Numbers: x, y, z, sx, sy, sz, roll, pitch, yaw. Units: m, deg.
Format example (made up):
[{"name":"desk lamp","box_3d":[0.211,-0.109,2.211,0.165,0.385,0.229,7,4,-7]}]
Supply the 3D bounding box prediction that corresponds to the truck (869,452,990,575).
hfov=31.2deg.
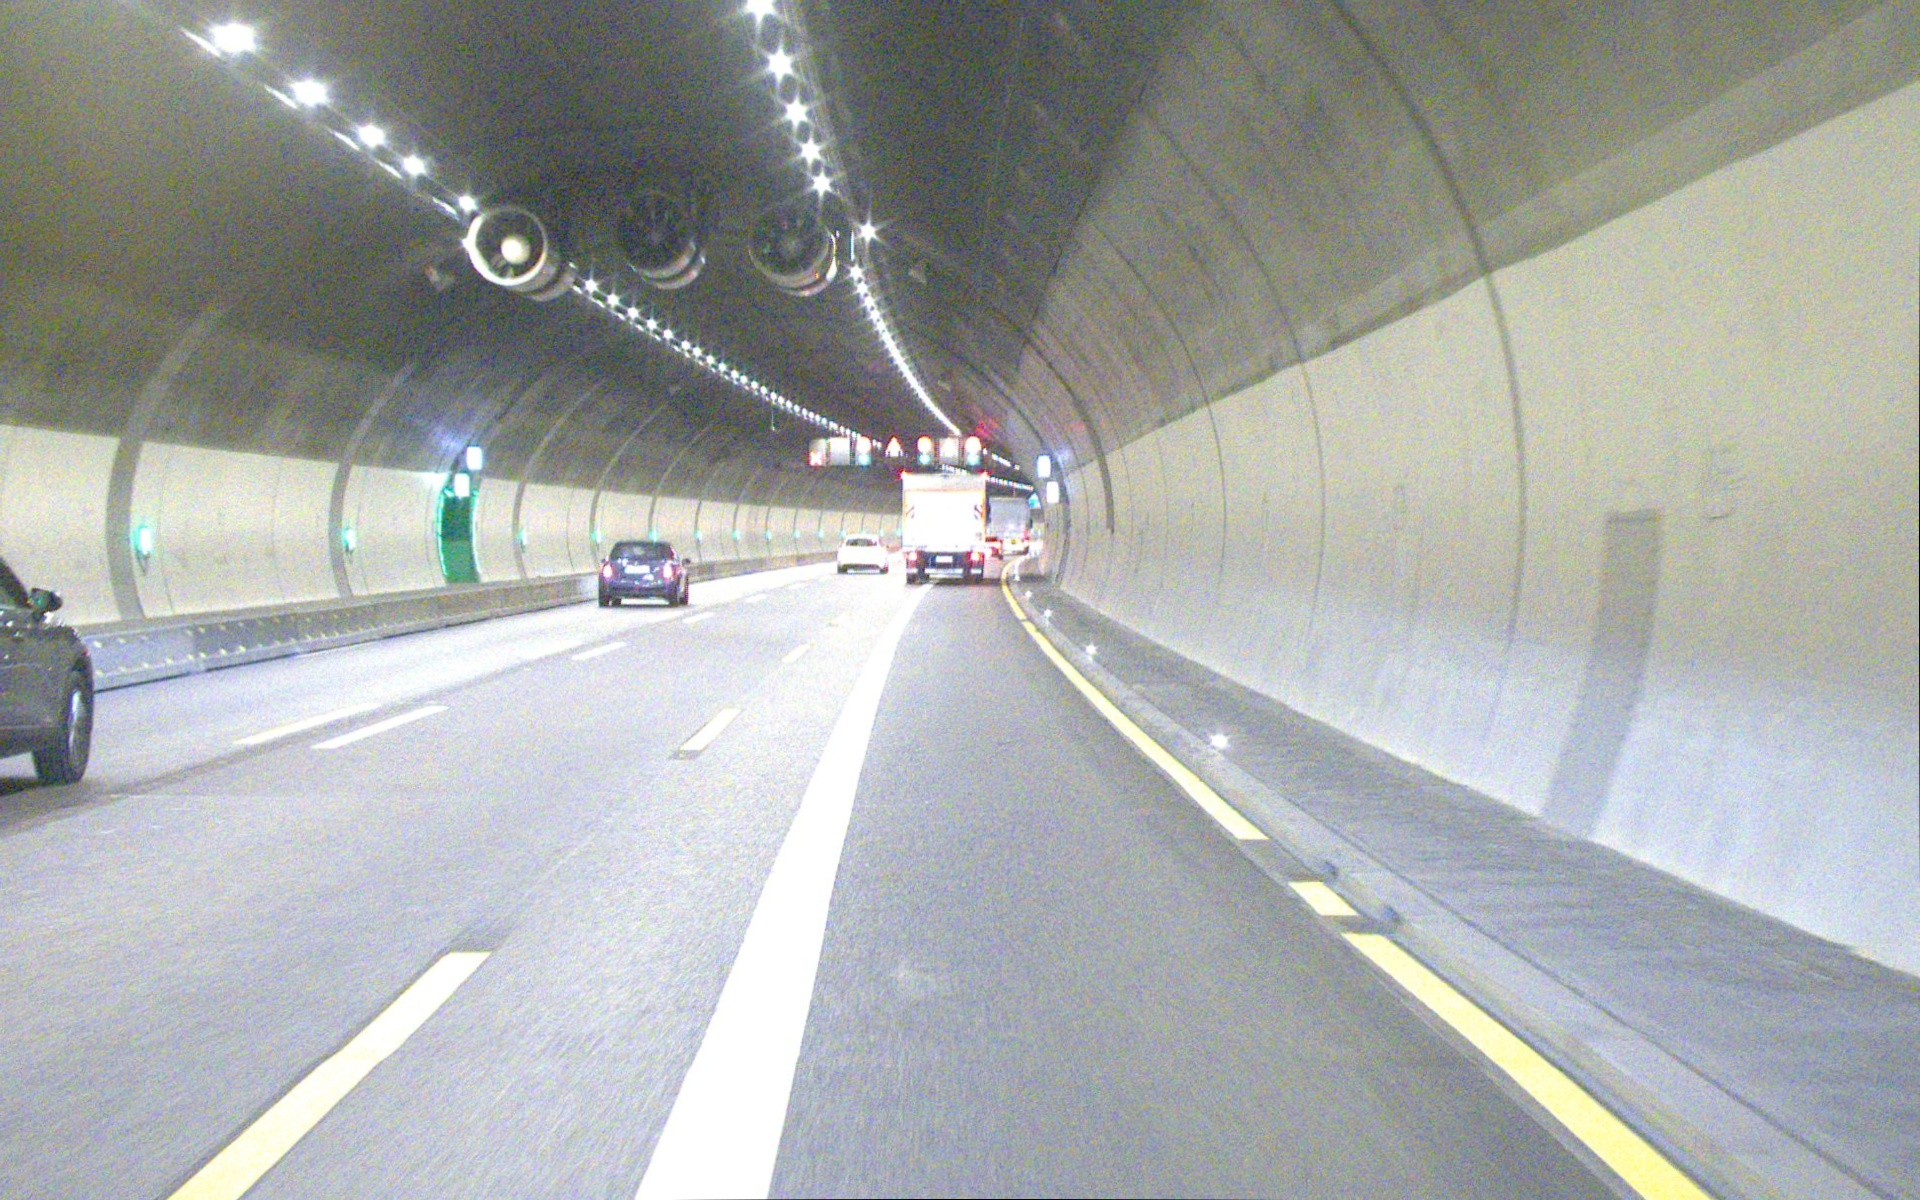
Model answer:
[{"name":"truck","box_3d":[-1.006,-2.751,109.815,3.592,3.638,10.723,1,1,-1]}]

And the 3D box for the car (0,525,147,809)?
[{"name":"car","box_3d":[-6.178,0.324,19.493,1.993,1.535,4.743,2,1,0]}]

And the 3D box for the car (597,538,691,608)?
[{"name":"car","box_3d":[-6.719,-0.595,73.438,1.689,1.412,3.923,2,1,-1]}]

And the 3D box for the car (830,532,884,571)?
[{"name":"car","box_3d":[-3.931,-1.867,131.620,1.993,1.408,4.743,1,1,-1]}]
